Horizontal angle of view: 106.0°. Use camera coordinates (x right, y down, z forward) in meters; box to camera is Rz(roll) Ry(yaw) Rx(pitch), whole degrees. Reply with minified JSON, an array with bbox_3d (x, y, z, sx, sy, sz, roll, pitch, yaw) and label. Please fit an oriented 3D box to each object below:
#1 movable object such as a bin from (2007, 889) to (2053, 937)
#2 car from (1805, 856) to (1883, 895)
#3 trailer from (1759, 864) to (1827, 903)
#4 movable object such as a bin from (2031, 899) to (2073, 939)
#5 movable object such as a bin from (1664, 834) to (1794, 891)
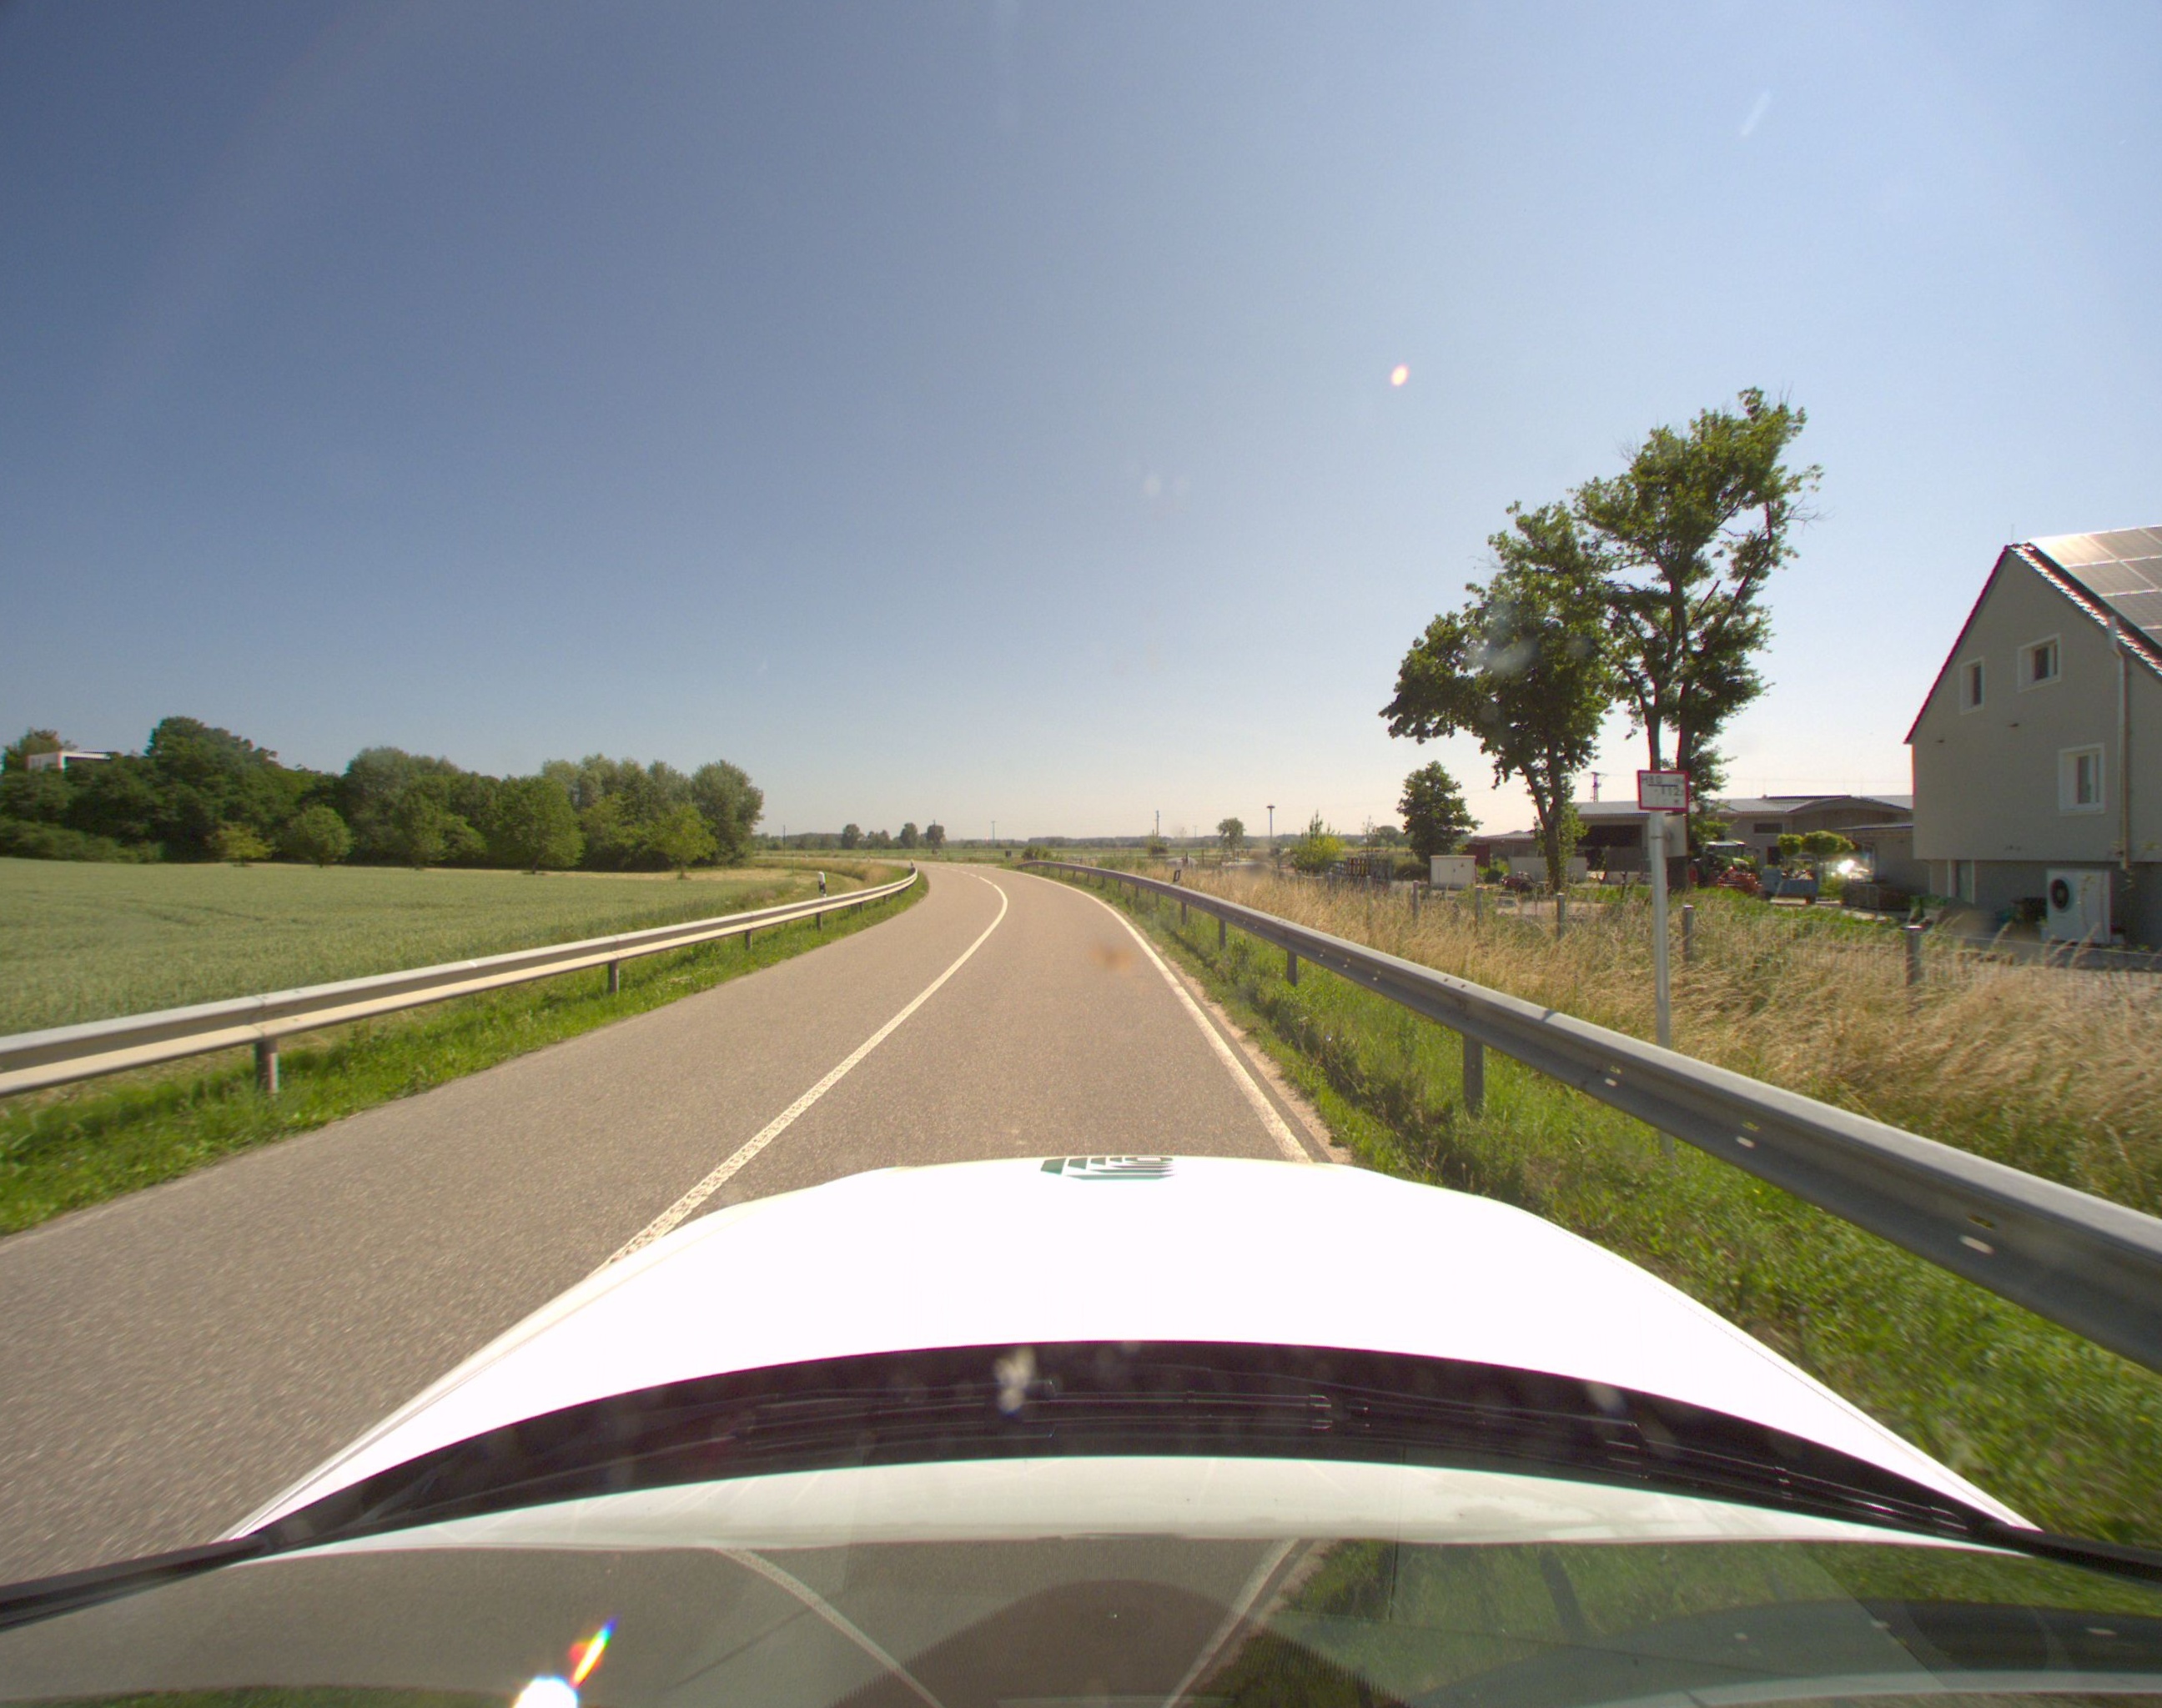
[{"bbox_3d":[23.955,1.482,20.564,0.571,1.150,0.665,0,0,29],"label":"movable object such as a bin"},{"bbox_3d":[42.912,1.164,45.893,1.976,1.573,3.901,1,7,24],"label":"car"},{"bbox_3d":[29.074,1.191,33.355,1.694,1.496,3.161,0,-2,34],"label":"trailer"},{"bbox_3d":[23.784,1.579,19.950,0.497,0.911,0.563,0,0,29],"label":"movable object such as a bin"},{"bbox_3d":[34.539,0.380,43.783,2.981,2.769,6.529,1,1,14],"label":"movable object such as a bin"}]
